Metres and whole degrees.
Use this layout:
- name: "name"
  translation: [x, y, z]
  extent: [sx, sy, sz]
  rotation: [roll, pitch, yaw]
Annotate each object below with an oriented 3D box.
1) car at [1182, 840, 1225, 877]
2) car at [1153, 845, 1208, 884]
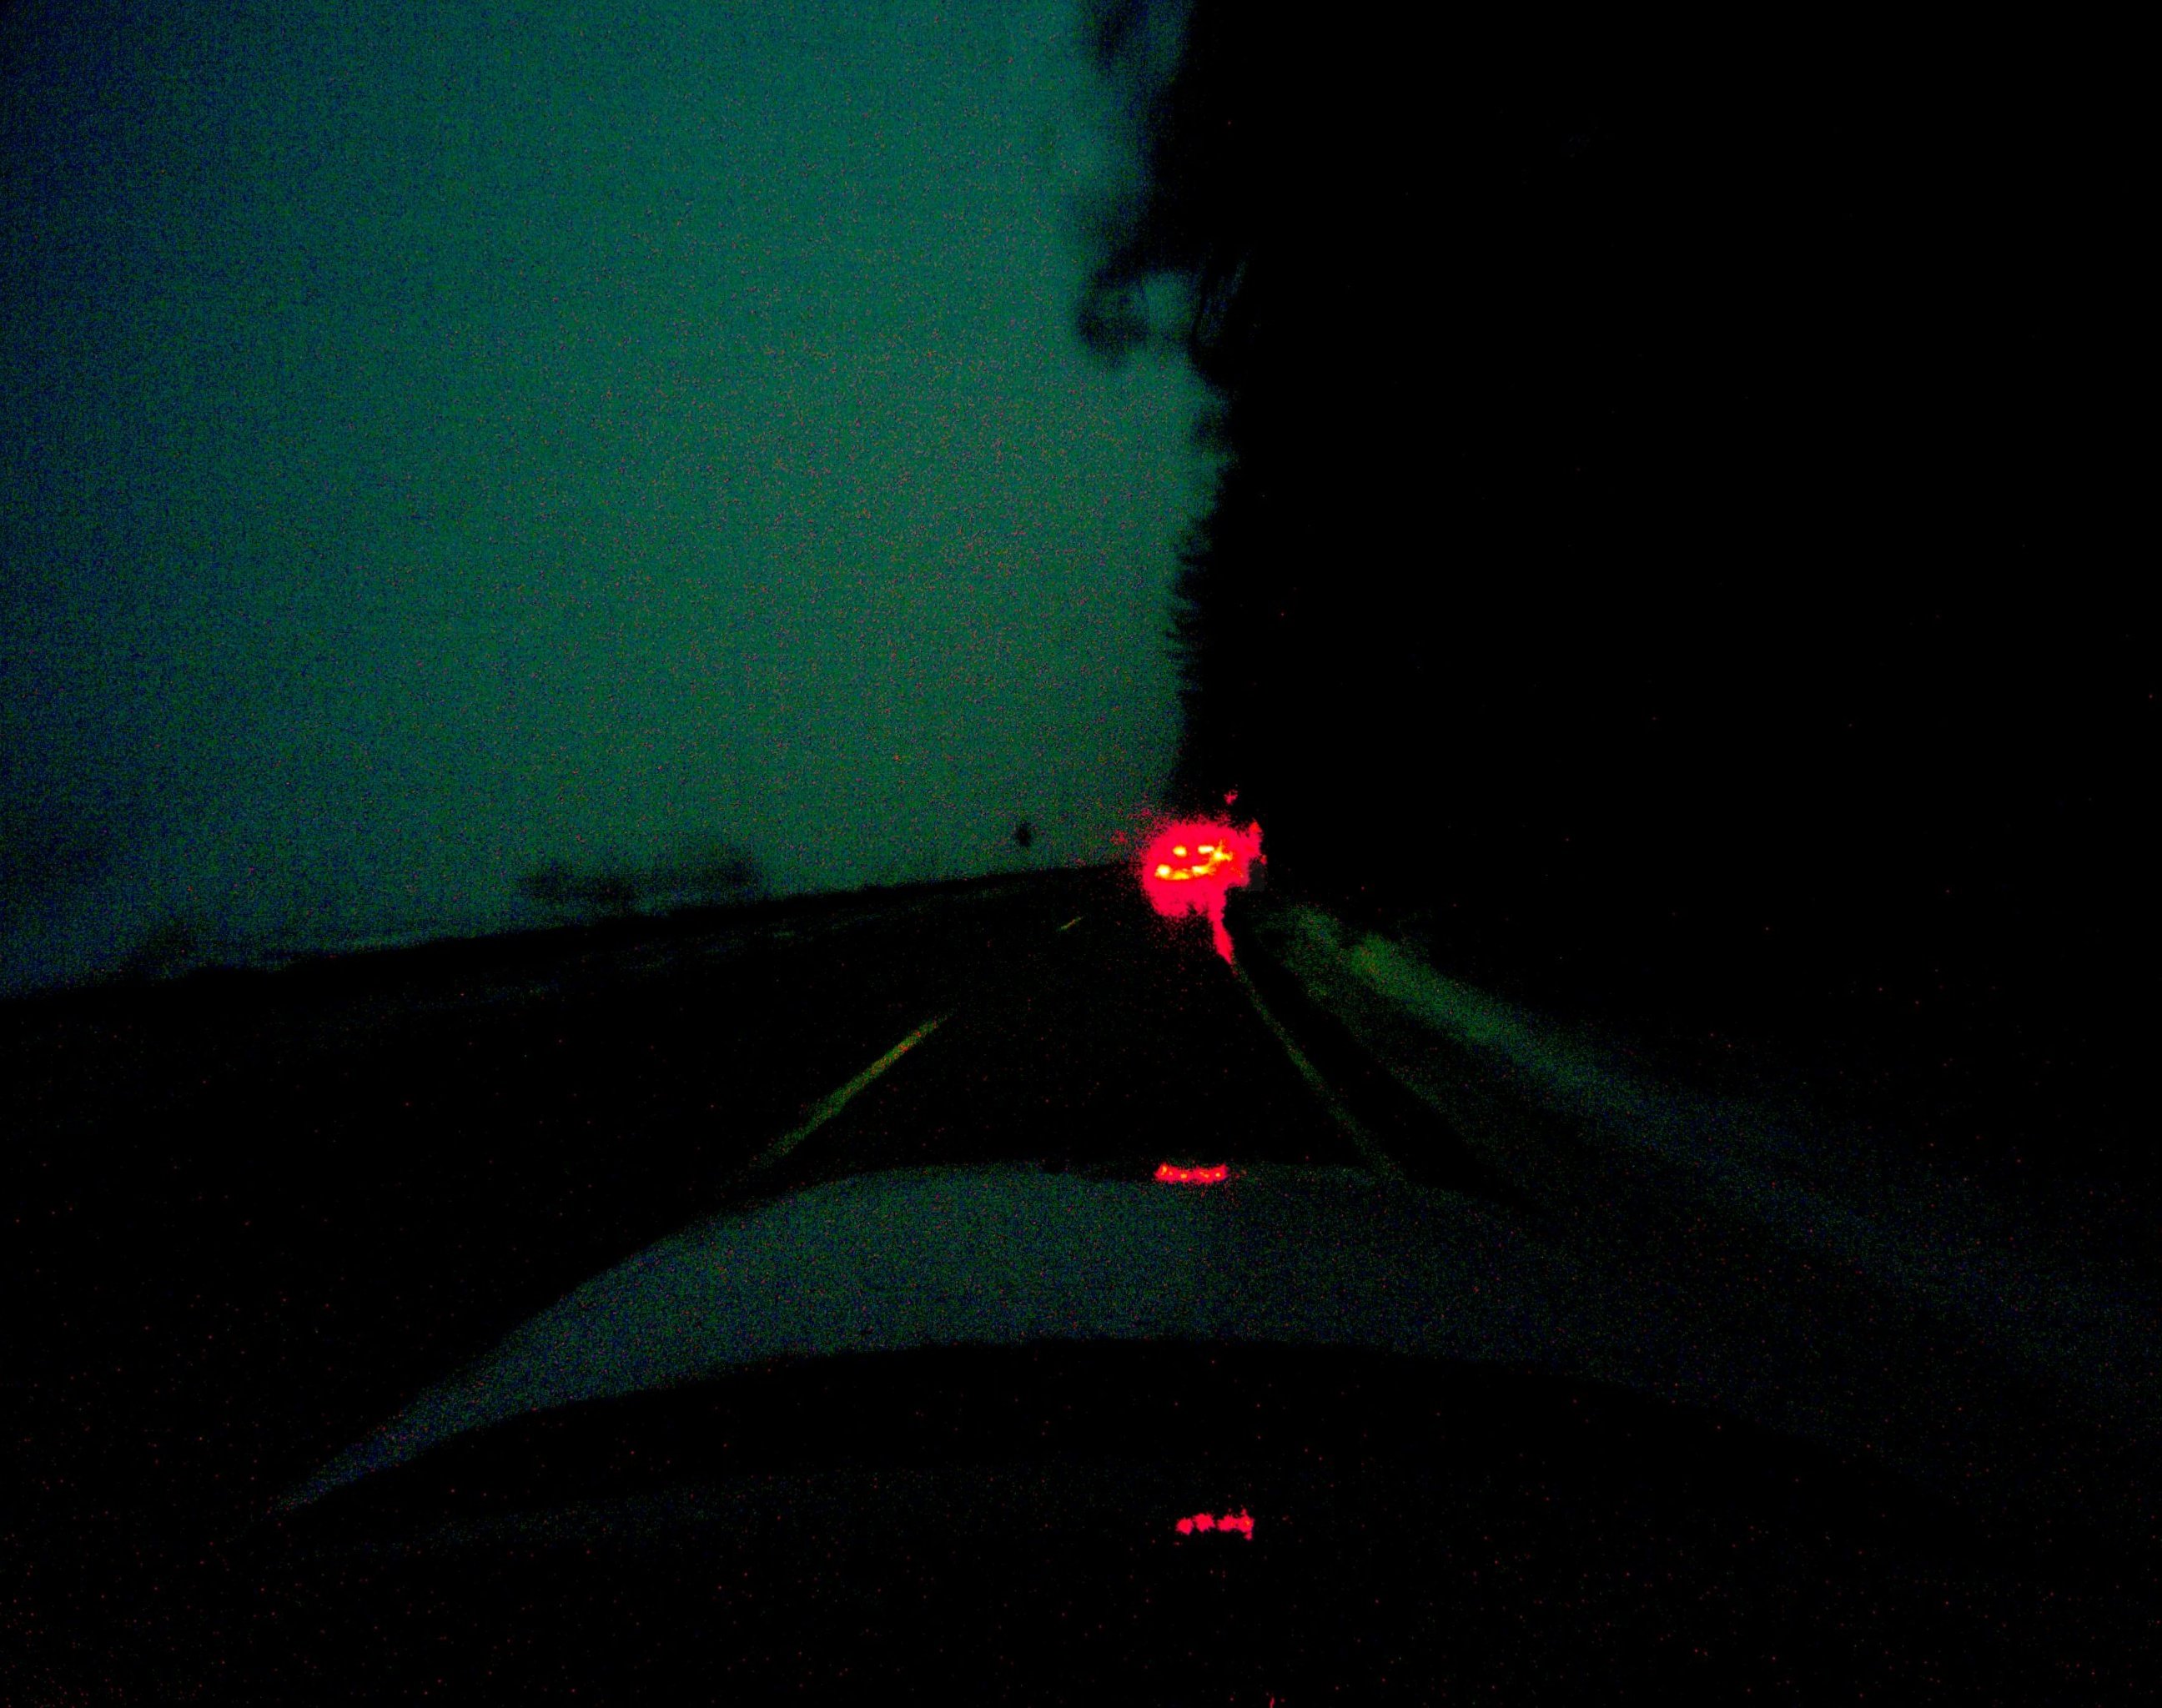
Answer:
- name: "car"
  translation: [6.333, 0.223, 42.462]
  extent: [1.983, 1.783, 4.007]
  rotation: [-2, 0, 6]
- name: "car"
  translation: [3.877, 0.393, 31.315]
  extent: [1.934, 1.381, 4.009]
  rotation: [-1, 0, 8]
